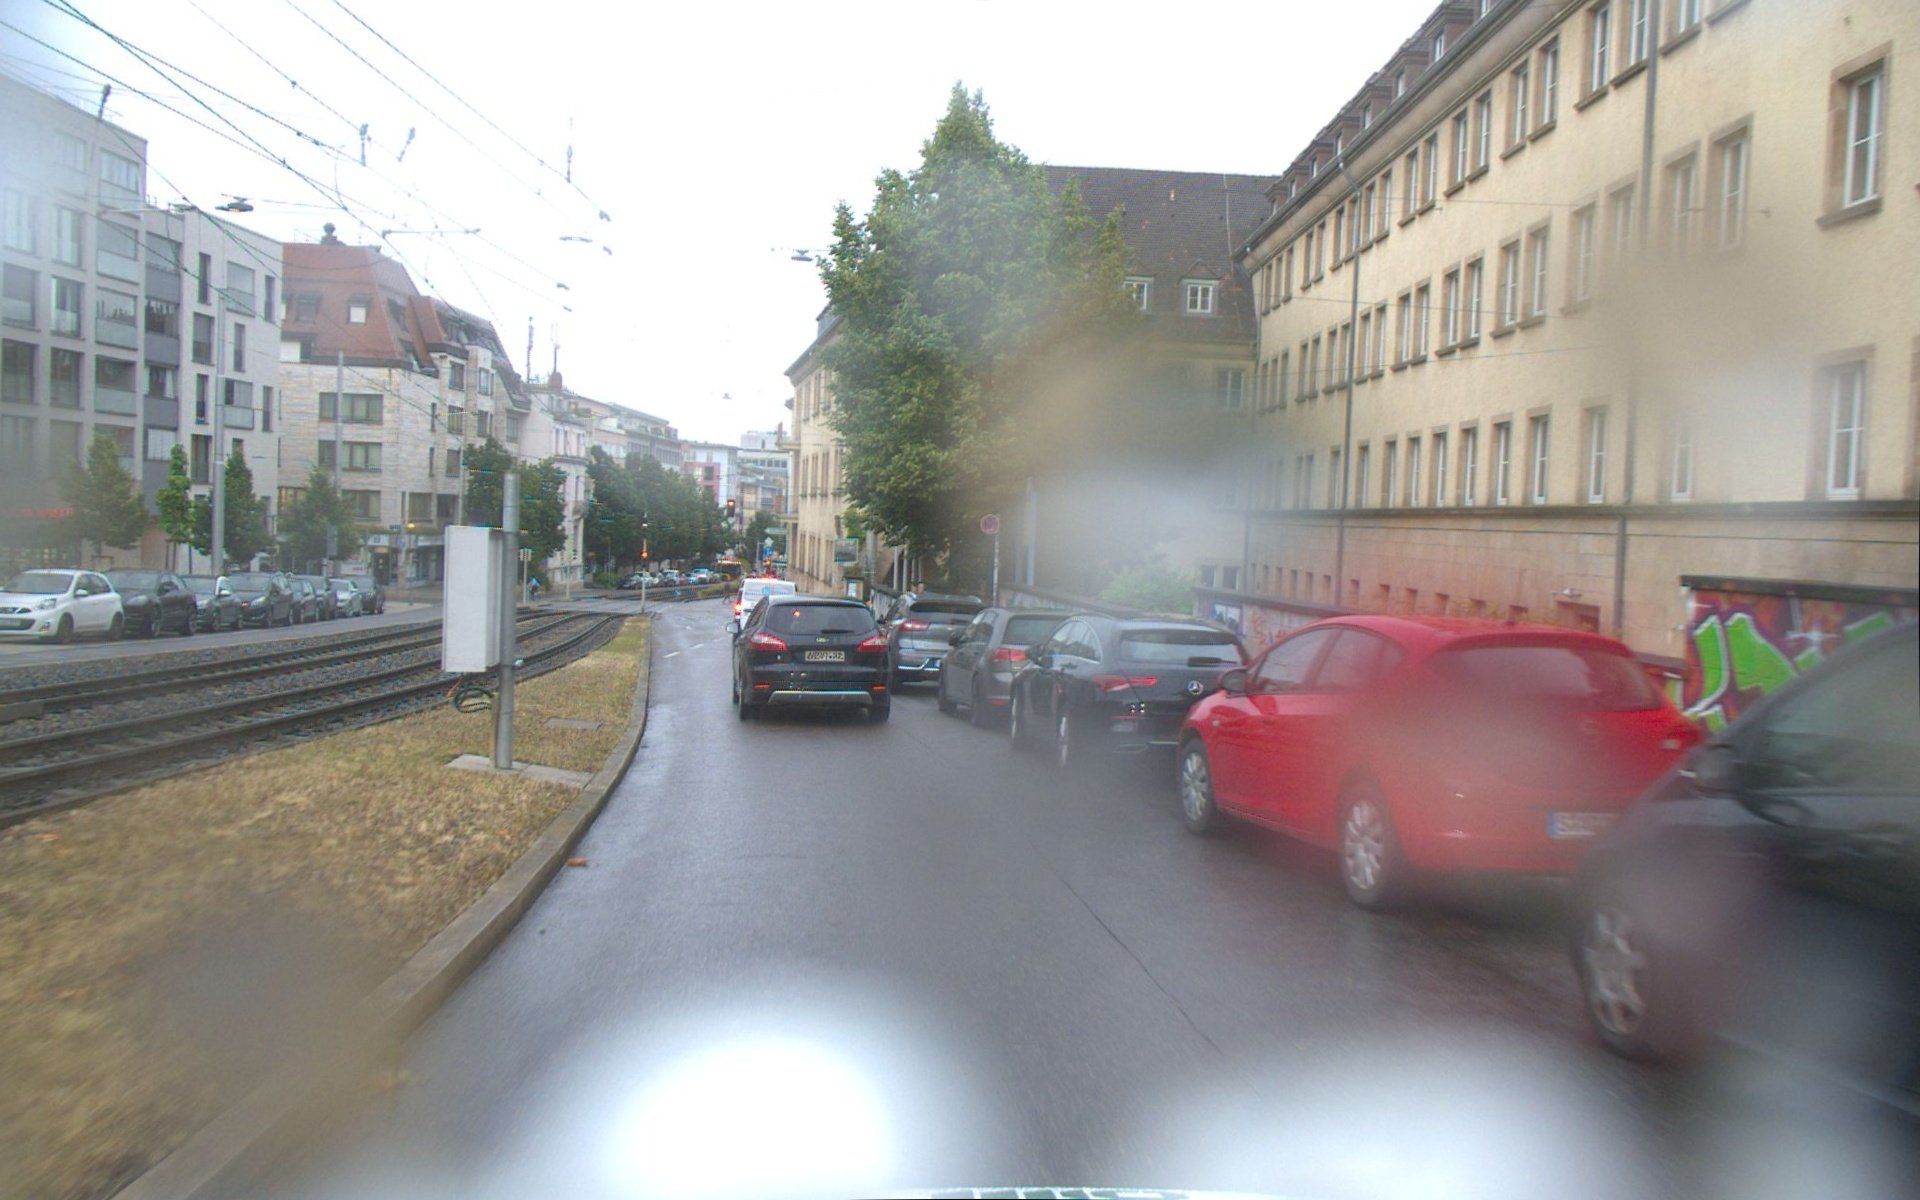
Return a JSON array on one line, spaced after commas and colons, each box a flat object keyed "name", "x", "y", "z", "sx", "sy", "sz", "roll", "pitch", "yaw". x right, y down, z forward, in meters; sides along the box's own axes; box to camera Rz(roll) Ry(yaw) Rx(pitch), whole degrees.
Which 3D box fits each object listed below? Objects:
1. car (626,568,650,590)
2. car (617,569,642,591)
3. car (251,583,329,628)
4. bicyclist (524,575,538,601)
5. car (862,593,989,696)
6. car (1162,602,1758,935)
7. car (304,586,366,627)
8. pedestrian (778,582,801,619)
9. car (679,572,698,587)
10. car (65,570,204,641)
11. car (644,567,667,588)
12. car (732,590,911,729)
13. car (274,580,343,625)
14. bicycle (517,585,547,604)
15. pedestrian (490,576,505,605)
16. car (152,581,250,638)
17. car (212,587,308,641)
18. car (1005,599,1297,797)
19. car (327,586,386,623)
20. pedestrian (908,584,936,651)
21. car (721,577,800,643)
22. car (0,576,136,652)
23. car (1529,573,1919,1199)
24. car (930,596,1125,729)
[{"name": "car", "x": -32.364, "y": -2.094, "z": 166.273, "sx": 1.955, "sy": 2.049, "sz": 3.995, "roll": 2, "pitch": 0, "yaw": -6}, {"name": "car", "x": -31.938, "y": -1.939, "z": 159.984, "sx": 1.955, "sy": 2.049, "sz": 3.995, "roll": 2, "pitch": 0, "yaw": -6}, {"name": "car", "x": -22.312, "y": 0.176, "z": 55.178, "sx": 1.521, "sy": 1.386, "sz": 4.001, "roll": 3, "pitch": 0, "yaw": -10}, {"name": "bicyclist", "x": -26.762, "y": -0.762, "z": 103.144, "sx": 0.454, "sy": 1.601, "sz": 0.697, "roll": 2, "pitch": -1, "yaw": 43}, {"name": "car", "x": -0.639, "y": 0.662, "z": 26.946, "sx": 1.634, "sy": 1.551, "sz": 4.102, "roll": 0, "pitch": 0, "yaw": -7}, {"name": "car", "x": 2.626, "y": 0.797, "z": 9.761, "sx": 1.636, "sy": 1.502, "sz": 4.055, "roll": 1, "pitch": 0, "yaw": -11}, {"name": "car", "x": -24.251, "y": 0.229, "z": 64.300, "sx": 1.742, "sy": 1.530, "sz": 4.069, "roll": 1, "pitch": 0, "yaw": -14}, {"name": "pedestrian", "x": -8.577, "y": 0.004, "z": 83.258, "sx": 1.027, "sy": 1.826, "sz": 0.899, "roll": 2, "pitch": 0, "yaw": -12}, {"name": "car", "x": -32.280, "y": -2.402, "z": 196.909, "sx": 1.955, "sy": 1.691, "sz": 3.995, "roll": 2, "pitch": 0, "yaw": -6}, {"name": "car", "x": -19.698, "y": 0.124, "z": 39.679, "sx": 1.733, "sy": 1.588, "sz": 4.395, "roll": 1, "pitch": 0, "yaw": -10}, {"name": "car", "x": -31.803, "y": -2.334, "z": 172.748, "sx": 1.955, "sy": 2.049, "sz": 3.995, "roll": 2, "pitch": 0, "yaw": -6}, {"name": "car", "x": -1.822, "y": 0.667, "z": 20.600, "sx": 1.885, "sy": 1.505, "sz": 3.991, "roll": 1, "pitch": 1, "yaw": -10}, {"name": "car", "x": -23.443, "y": 0.085, "z": 59.623, "sx": 1.742, "sy": 1.530, "sz": 3.907, "roll": 1, "pitch": 0, "yaw": -14}, {"name": "bicycle", "x": -26.697, "y": -0.331, "z": 103.228, "sx": 0.449, "sy": 1.082, "sz": 1.791, "roll": 2, "pitch": 0, "yaw": 43}, {"name": "pedestrian", "x": -31.374, "y": -0.631, "z": 112.116, "sx": 0.890, "sy": 1.965, "sz": 0.822, "roll": 2, "pitch": 0, "yaw": -15}, {"name": "car", "x": -20.573, "y": 0.246, "z": 44.955, "sx": 1.520, "sy": 1.460, "sz": 3.443, "roll": 1, "pitch": 0, "yaw": -10}, {"name": "car", "x": -21.125, "y": 0.406, "z": 50.047, "sx": 1.688, "sy": 1.540, "sz": 4.309, "roll": 1, "pitch": 0, "yaw": -10}, {"name": "car", "x": 1.557, "y": 0.764, "z": 15.086, "sx": 1.634, "sy": 1.502, "sz": 4.450, "roll": 0, "pitch": 0, "yaw": -7}, {"name": "car", "x": -25.874, "y": 0.171, "z": 71.001, "sx": 1.879, "sy": 1.530, "sz": 4.222, "roll": 1, "pitch": 0, "yaw": -14}, {"name": "pedestrian", "x": -1.021, "y": 0.469, "z": 43.881, "sx": 0.620, "sy": 1.751, "sz": 0.709, "roll": 1, "pitch": 0, "yaw": -9}, {"name": "car", "x": -5.657, "y": 0.247, "z": 47.195, "sx": 2.096, "sy": 1.776, "sz": 4.213, "roll": 1, "pitch": 1, "yaw": -6}, {"name": "car", "x": -19.313, "y": 0.278, "z": 35.297, "sx": 1.730, "sy": 1.505, "sz": 3.732, "roll": 1, "pitch": 0, "yaw": -3}, {"name": "car", "x": 3.239, "y": 0.736, "z": 4.512, "sx": 1.634, "sy": 1.600, "sz": 3.849, "roll": 0, "pitch": 0, "yaw": -8}, {"name": "car", "x": 0.747, "y": 0.710, "z": 20.975, "sx": 1.635, "sy": 1.502, "sz": 4.099, "roll": 0, "pitch": 0, "yaw": -10}]
